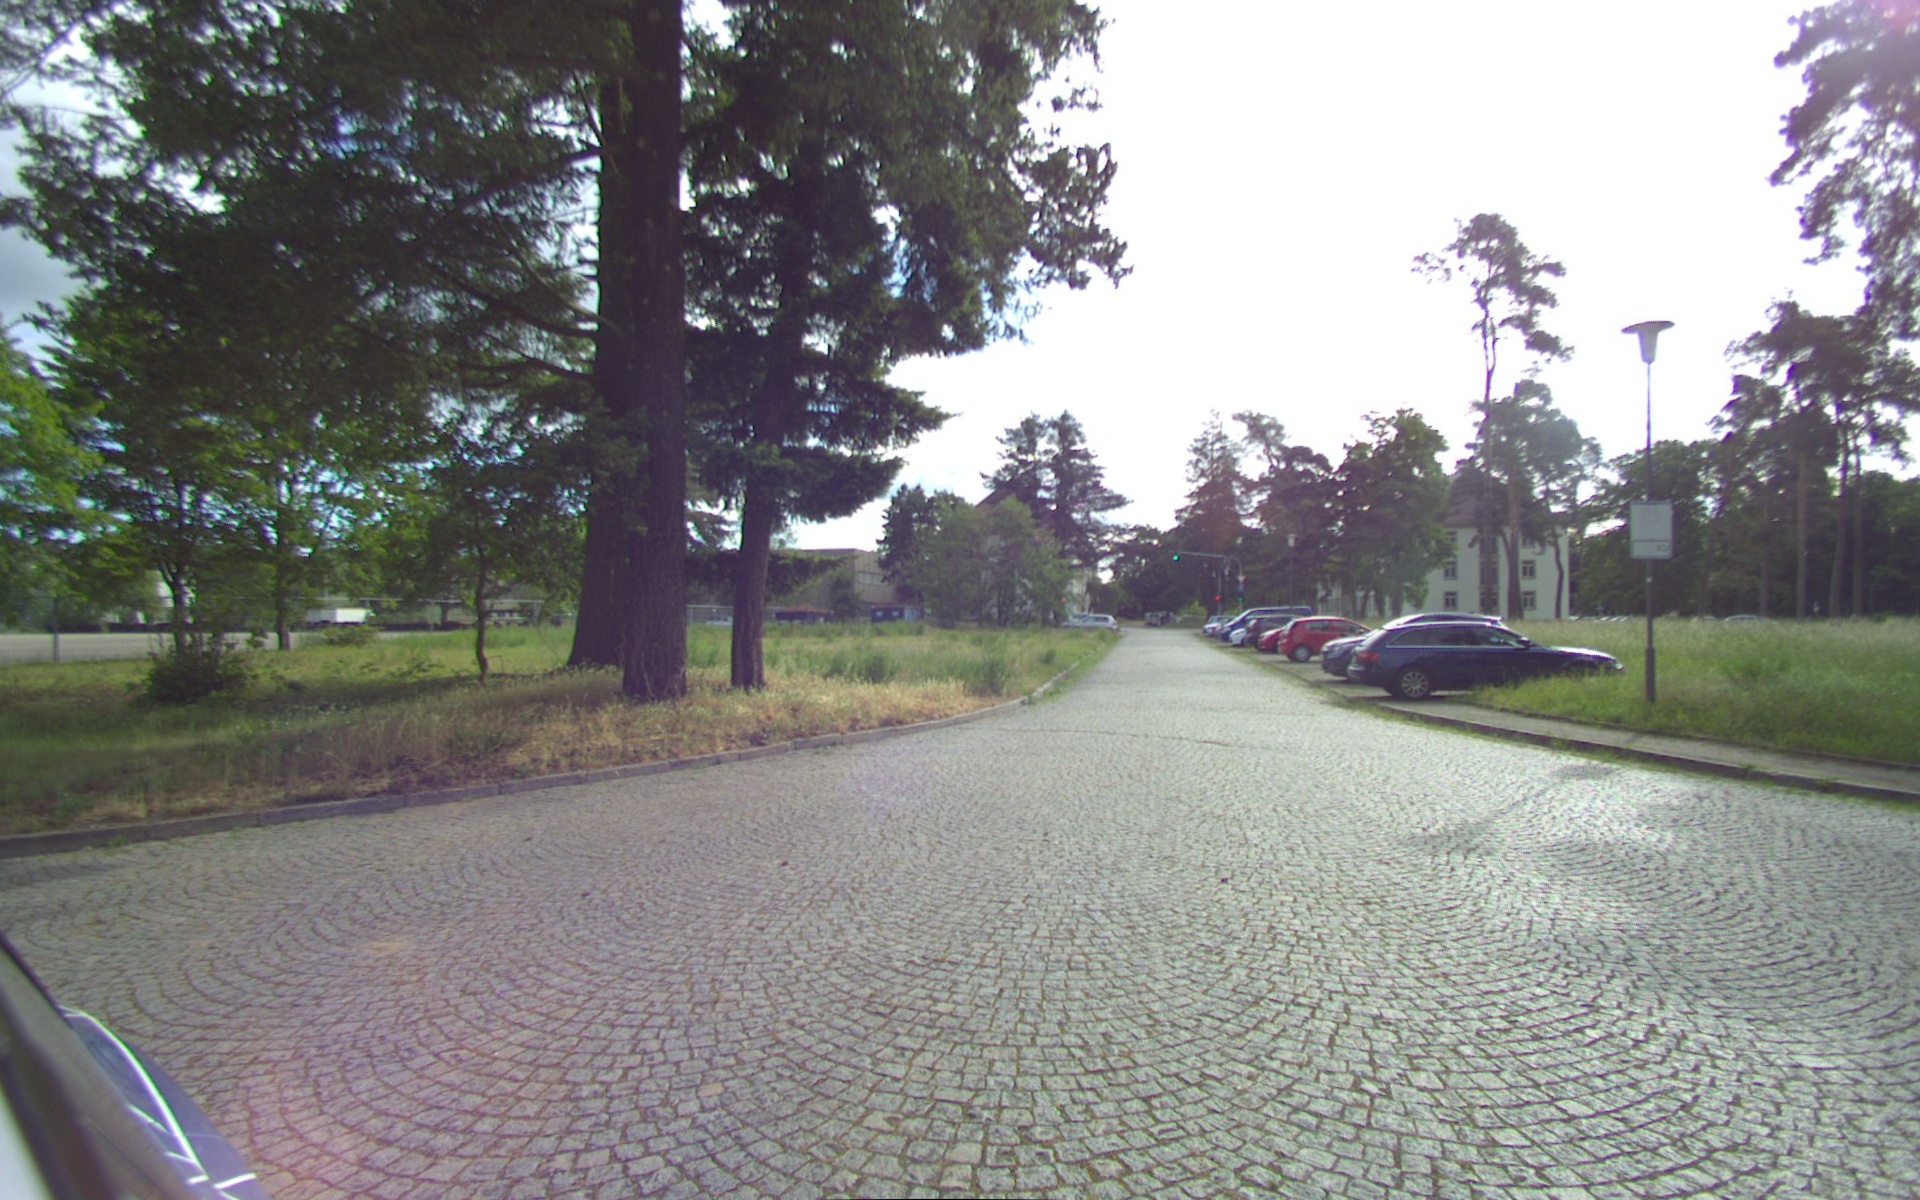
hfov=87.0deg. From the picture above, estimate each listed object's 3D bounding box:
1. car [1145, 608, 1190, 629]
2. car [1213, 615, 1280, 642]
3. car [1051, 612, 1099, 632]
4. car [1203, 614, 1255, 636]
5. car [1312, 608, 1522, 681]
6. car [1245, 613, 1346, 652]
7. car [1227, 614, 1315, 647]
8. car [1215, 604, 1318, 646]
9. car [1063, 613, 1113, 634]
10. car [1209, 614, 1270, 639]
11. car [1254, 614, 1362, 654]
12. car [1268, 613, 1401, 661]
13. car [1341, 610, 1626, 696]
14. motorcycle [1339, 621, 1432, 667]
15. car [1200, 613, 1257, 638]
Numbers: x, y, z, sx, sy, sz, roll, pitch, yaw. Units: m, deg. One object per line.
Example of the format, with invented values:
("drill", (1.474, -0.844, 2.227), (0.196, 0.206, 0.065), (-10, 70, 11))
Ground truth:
("car", (29.130, 2.584, 142.431), (5.728, 2.582, 2.765), (-3, -1, 6))
("car", (17.118, 1.718, 60.622), (3.554, 1.431, 1.616), (-2, -1, 4))
("car", (9.374, 1.806, 82.591), (3.683, 1.448, 1.625), (-3, -1, 4))
("car", (20.130, 1.843, 75.806), (3.408, 1.443, 1.627), (-3, -1, 2))
("car", (10.527, 1.025, 23.611), (4.106, 1.585, 1.785), (-1, 0, 10))
("car", (14.460, 1.395, 43.835), (3.874, 1.616, 1.816), (0, -1, 9))
("car", (15.369, 1.506, 50.138), (3.888, 1.403, 1.738), (-3, -1, 10))
("car", (15.860, 1.291, 52.641), (4.782, 1.880, 2.155), (-3, -1, 10))
("car", (9.728, 1.779, 77.114), (3.687, 1.448, 1.623), (-2, 0, 8))
("car", (18.281, 1.734, 66.332), (3.527, 1.427, 1.636), (-3, -1, 4))
("car", (14.111, 1.386, 41.178), (3.912, 1.532, 1.701), (-1, -2, 12))
("car", (12.406, 1.224, 33.733), (3.854, 1.490, 1.666), (-1, -1, 11))
("car", (9.593, 0.984, 18.923), (4.404, 1.491, 1.674), (-1, -1, 15))
("motorcycle", (12.231, 1.269, 29.179), (2.338, 1.298, 0.741), (-1, -1, 12))
("car", (18.701, 1.785, 70.538), (3.526, 1.498, 1.601), (-3, -1, 3))
